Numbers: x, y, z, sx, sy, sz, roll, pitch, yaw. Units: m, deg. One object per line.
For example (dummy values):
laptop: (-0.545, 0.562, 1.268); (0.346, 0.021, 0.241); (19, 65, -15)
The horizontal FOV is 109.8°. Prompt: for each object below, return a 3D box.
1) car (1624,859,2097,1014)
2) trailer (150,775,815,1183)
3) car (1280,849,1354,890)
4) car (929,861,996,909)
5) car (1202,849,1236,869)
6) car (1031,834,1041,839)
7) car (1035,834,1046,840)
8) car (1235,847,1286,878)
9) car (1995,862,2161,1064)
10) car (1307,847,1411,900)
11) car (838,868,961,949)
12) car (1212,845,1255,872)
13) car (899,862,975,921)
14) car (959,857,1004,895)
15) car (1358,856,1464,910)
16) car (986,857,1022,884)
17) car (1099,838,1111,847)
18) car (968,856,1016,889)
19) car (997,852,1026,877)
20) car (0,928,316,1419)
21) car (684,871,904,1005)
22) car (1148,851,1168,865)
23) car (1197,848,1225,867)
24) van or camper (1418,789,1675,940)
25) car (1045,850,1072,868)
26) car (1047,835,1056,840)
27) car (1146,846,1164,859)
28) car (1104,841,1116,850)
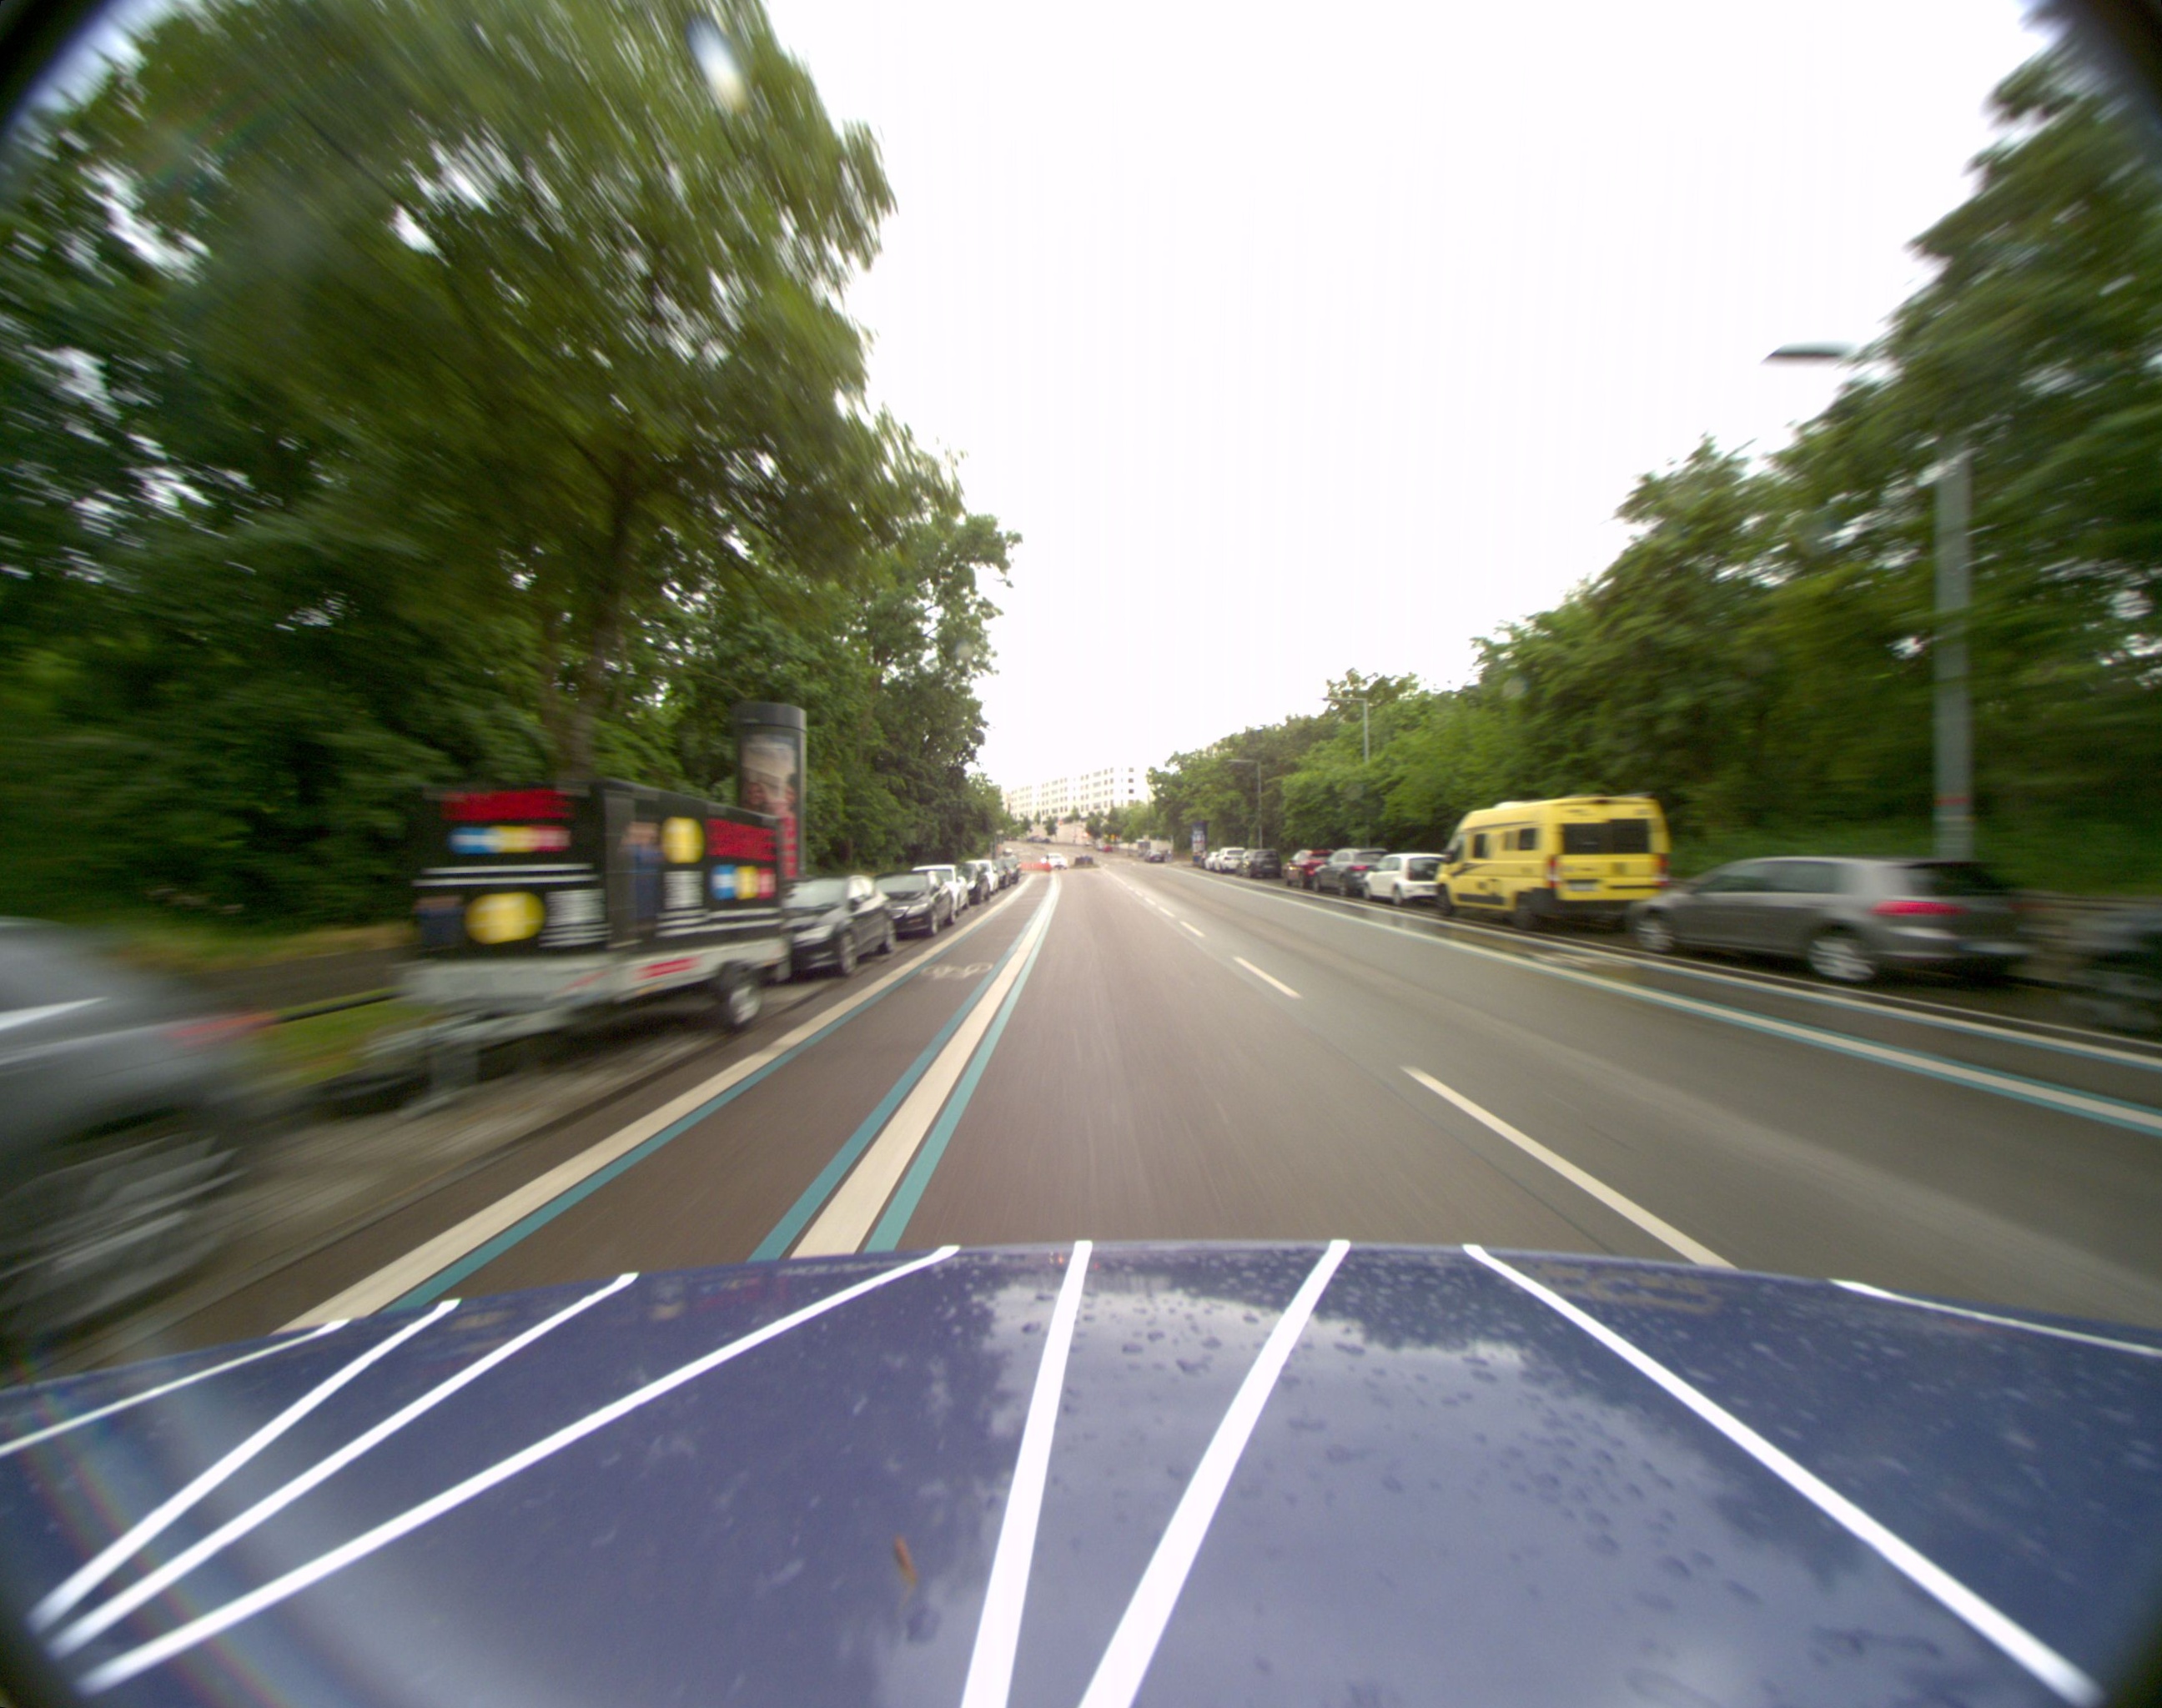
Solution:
car: (9.221, 0.837, 9.617); (1.684, 1.489, 4.148); (0, 0, -1)
trailer: (-4.171, 0.701, 6.623); (1.911, 2.234, 4.768); (-1, 0, 1)
car: (10.027, 0.597, 32.631); (1.923, 1.607, 4.490); (0, 0, 2)
car: (-4.171, 1.055, 27.303); (1.663, 1.456, 3.900); (-3, 0, 1)
car: (10.531, 0.375, 58.230); (1.723, 1.452, 4.708); (-1, 0, 0)
car: (-13.898, -5.404, 233.183); (1.792, 1.623, 3.990); (-1, 3, -25)
car: (-12.145, -5.153, 229.217); (1.866, 1.470, 3.990); (-1, 3, -25)
car: (10.320, 0.458, 44.047); (1.736, 1.639, 4.570); (-2, 0, -2)
car: (8.981, 0.833, 5.255); (1.606, 1.501, 3.139); (-1, 0, 3)
car: (9.774, 0.625, 27.129); (1.999, 1.690, 4.615); (-1, 0, 0)
car: (-3.893, 1.110, 17.072); (1.756, 1.385, 4.444); (-3, 1, -2)
car: (10.398, 0.284, 52.261); (1.998, 1.755, 4.960); (-1, 1, 1)
car: (-4.220, 1.052, 22.807); (1.622, 1.458, 3.999); (-3, 0, -3)
car: (-4.292, 0.925, 33.244); (1.564, 1.452, 3.675); (-2, 0, -2)
car: (9.589, 0.785, 22.354); (1.621, 1.440, 3.657); (0, 0, 2)
car: (-4.462, 0.932, 44.533); (1.858, 1.391, 4.383); (-3, 1, -3)
car: (5.071, -2.451, 160.483); (1.769, 1.644, 4.878); (-2, 3, -7)
car: (-4.431, 0.901, 38.644); (1.861, 1.447, 4.750); (-2, 0, 0)
car: (-5.005, 0.706, 54.947); (1.827, 1.605, 4.250); (-3, 1, -3)
car: (-4.302, 1.064, 1.123); (1.800, 1.442, 4.428); (-1, 0, 1)
car: (-4.117, 1.113, 11.727); (1.827, 1.477, 4.199); (-3, 0, -2)
car: (9.404, 0.474, 92.658); (1.911, 1.406, 4.781); (-2, 1, 0)
car: (10.850, 0.269, 63.585); (1.753, 1.437, 4.587); (-2, 0, 4)
van or camper: (9.398, 0.184, 16.136); (2.148, 2.612, 5.683); (-1, 0, 2)
car: (-2.269, 0.471, 74.530); (1.929, 1.652, 3.996); (-1, 0, -12)
car: (-8.806, -4.939, 224.168); (1.683, 1.451, 2.689); (-1, 3, -25)
car: (9.546, -0.189, 98.790); (1.845, 1.580, 4.927); (-2, 1, 0)
car: (5.859, -1.748, 153.998); (1.670, 1.578, 4.212); (-1, 3, -7)
